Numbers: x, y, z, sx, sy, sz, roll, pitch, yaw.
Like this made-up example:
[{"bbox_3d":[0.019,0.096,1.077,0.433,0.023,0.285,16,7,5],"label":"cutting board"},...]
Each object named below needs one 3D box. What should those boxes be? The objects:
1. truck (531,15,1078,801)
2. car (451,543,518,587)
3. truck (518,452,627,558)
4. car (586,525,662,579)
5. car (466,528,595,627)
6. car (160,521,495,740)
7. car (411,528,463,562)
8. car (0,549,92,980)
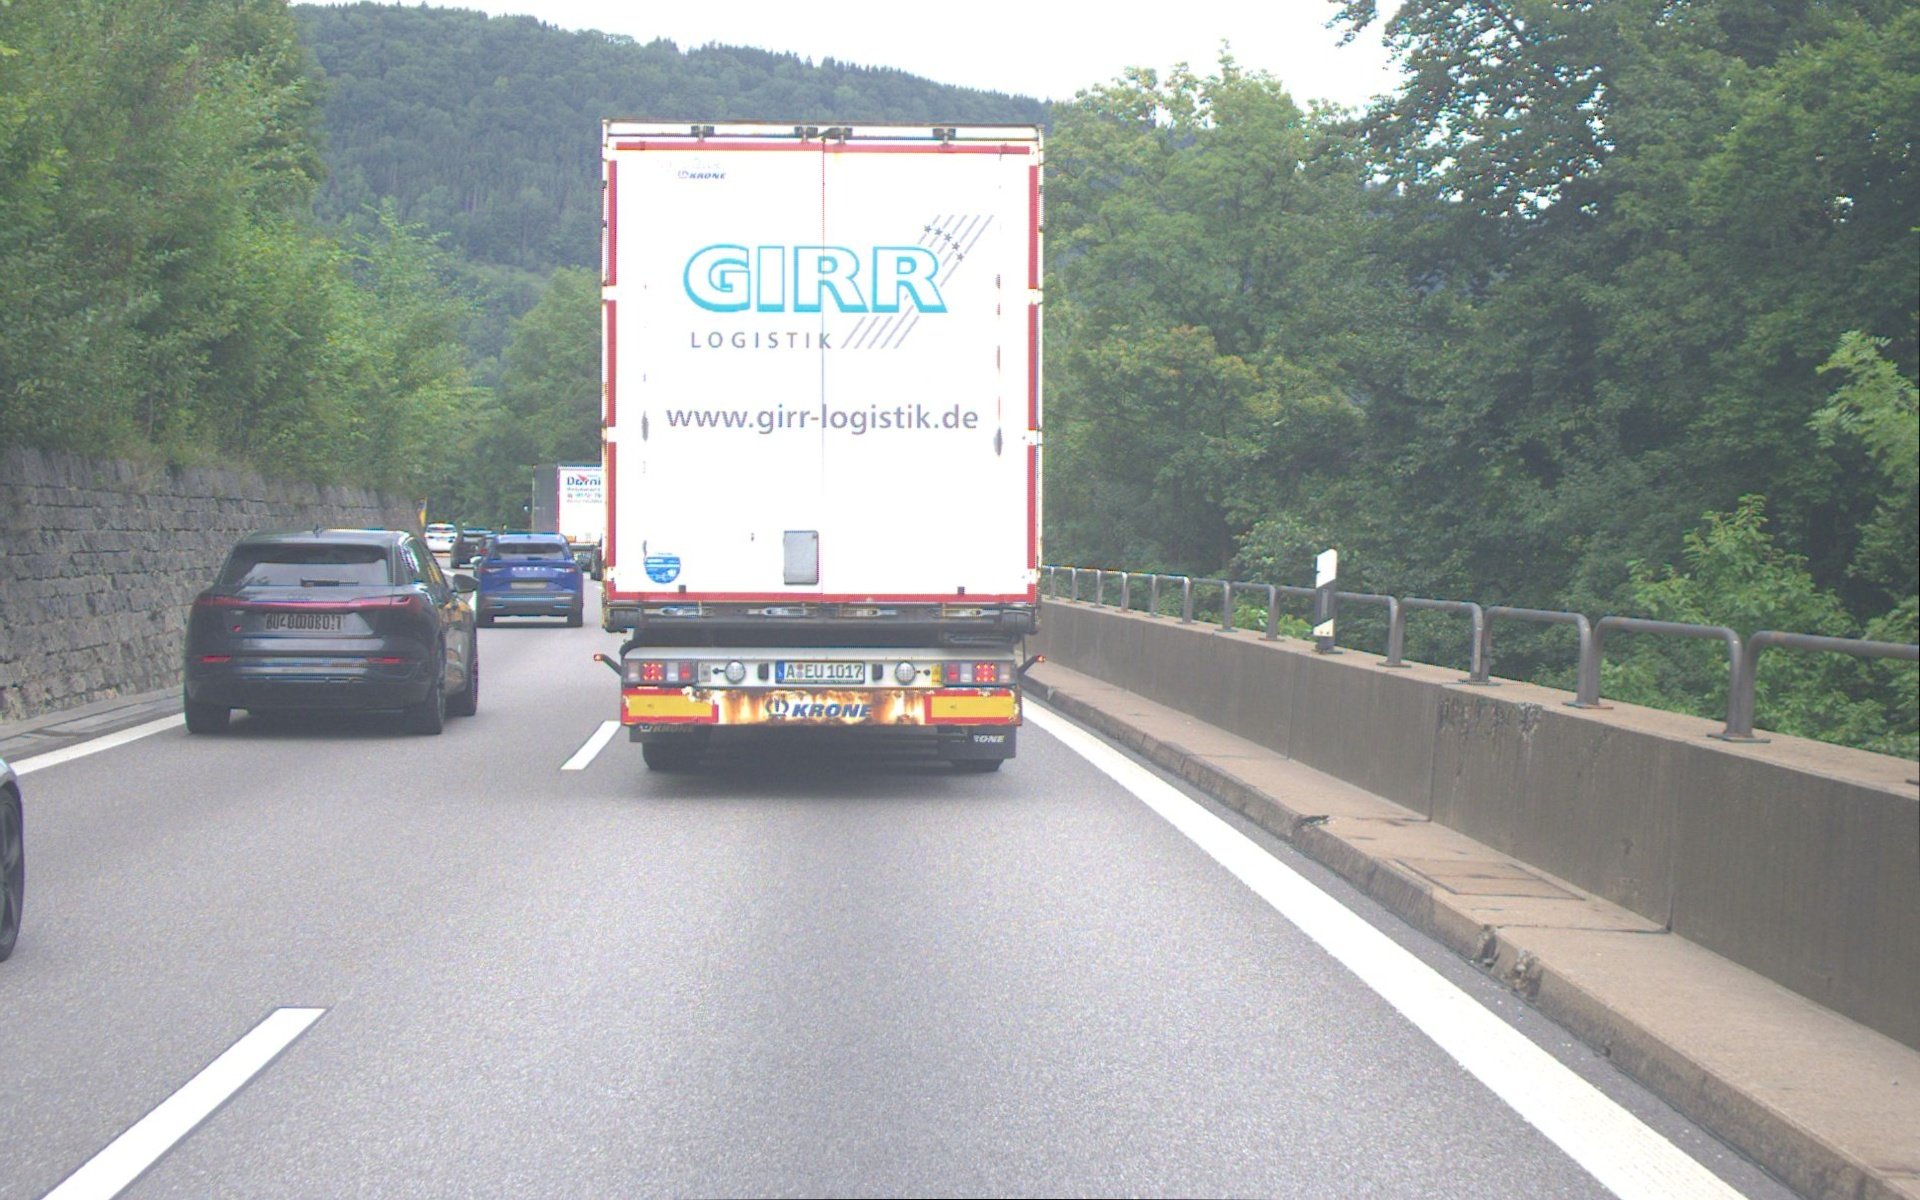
[{"bbox_3d":[-1.145,-1.184,27.143,3.084,4.449,15.157,0,1,-2],"label":"truck"},{"bbox_3d":[-18.057,-1.331,130.381,1.993,1.590,4.355,-1,1,-15],"label":"car"},{"bbox_3d":[-14.889,-3.538,131.372,2.633,3.844,12.363,0,1,-13],"label":"truck"},{"bbox_3d":[-10.721,-1.525,109.439,2.060,1.648,4.001,0,1,-10],"label":"car"},{"bbox_3d":[-7.586,-0.429,60.367,1.993,1.626,5.010,1,1,-10],"label":"car"},{"bbox_3d":[-5.046,0.197,28.095,1.993,1.626,5.009,0,1,-2],"label":"car"},{"bbox_3d":[-24.979,-2.635,164.121,1.896,1.545,4.251,2,1,-16],"label":"car"},{"bbox_3d":[-4.146,0.536,10.905,1.681,1.510,4.583,2,-1,-2],"label":"car"}]
